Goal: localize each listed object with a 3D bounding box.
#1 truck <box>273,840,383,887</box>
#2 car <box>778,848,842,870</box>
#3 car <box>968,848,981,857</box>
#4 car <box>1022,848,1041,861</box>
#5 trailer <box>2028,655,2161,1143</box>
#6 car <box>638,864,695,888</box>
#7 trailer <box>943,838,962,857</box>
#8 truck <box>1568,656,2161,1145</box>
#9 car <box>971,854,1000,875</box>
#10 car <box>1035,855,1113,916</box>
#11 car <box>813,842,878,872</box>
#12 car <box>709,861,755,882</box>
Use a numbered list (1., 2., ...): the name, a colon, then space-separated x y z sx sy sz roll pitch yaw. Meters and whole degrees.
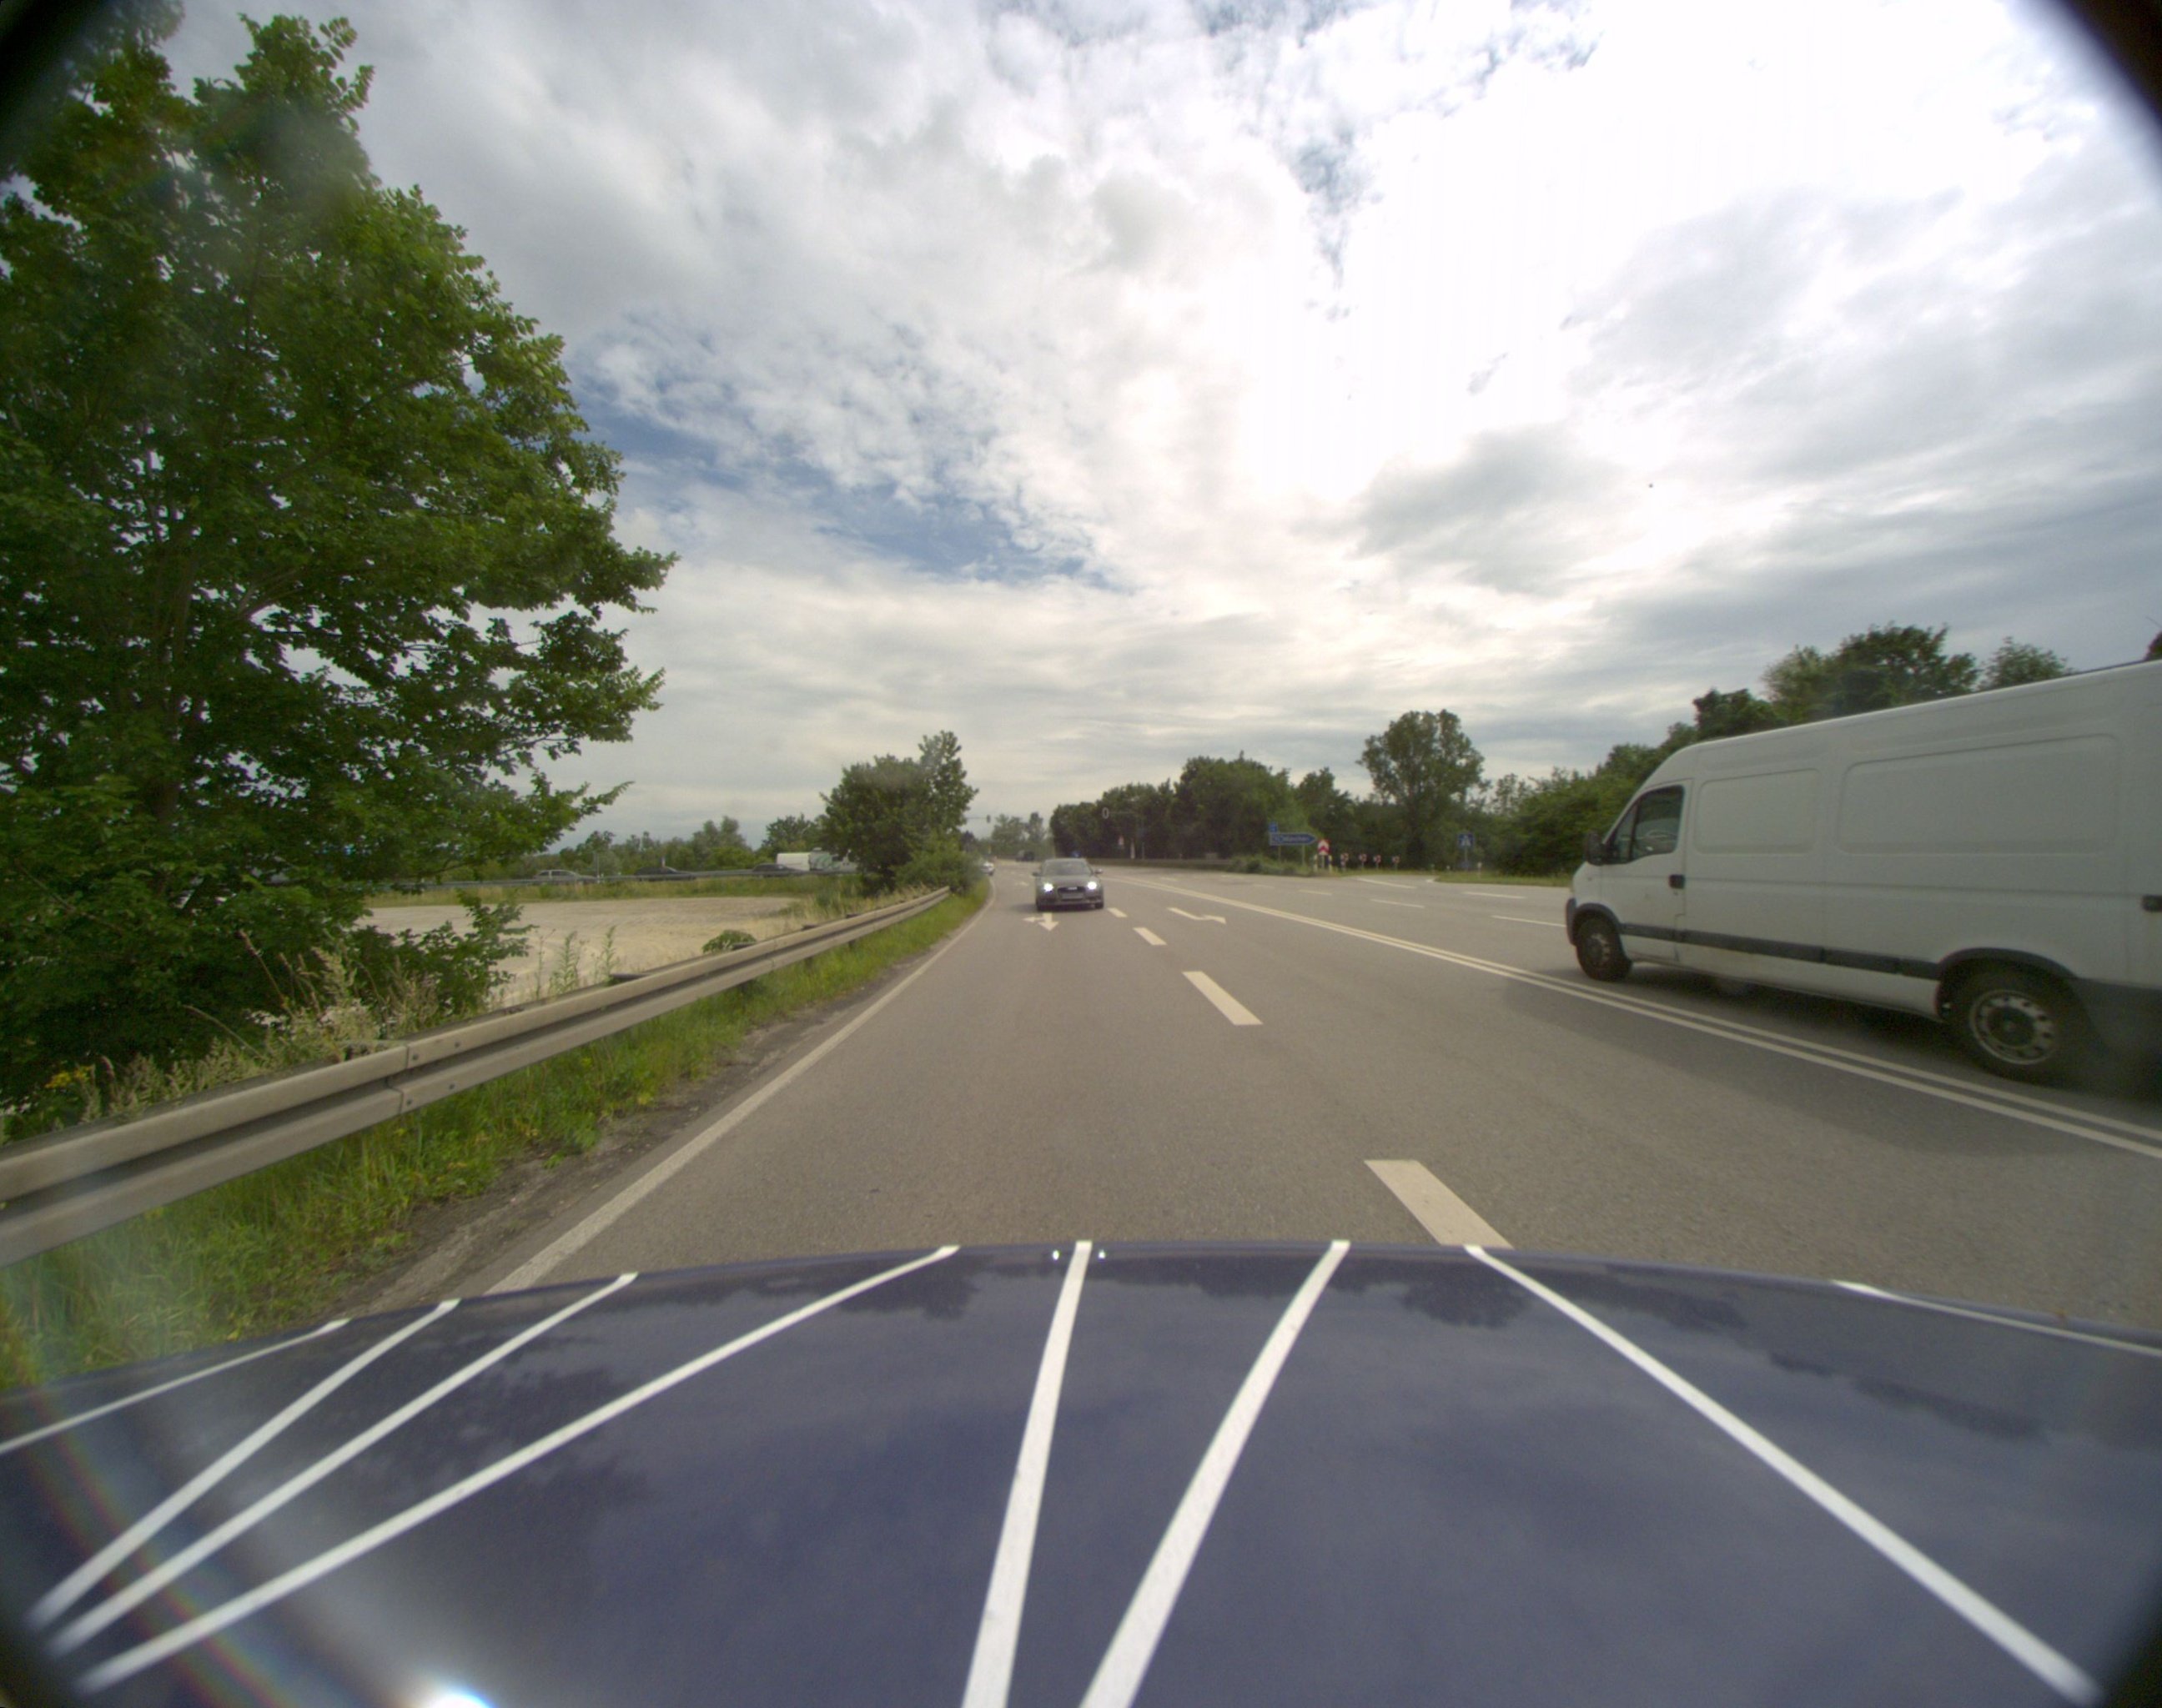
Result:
1. truck: -58.879 0.740 59.531 5.597 3.285 2.390 -3 0 -12
2. car: -27.428 0.545 77.123 5.901 2.002 2.059 -2 0 -16
3. car: -23.665 -0.370 169.242 2.002 2.002 3.993 -3 1 -20
4. car: -8.128 0.026 123.672 2.002 2.002 3.993 -3 1 -20
5. trailer: 6.346 0.198 0.800 2.028 2.430 6.966 -2 0 1
6. car: -36.197 1.879 66.508 4.002 2.001 1.929 -1 -1 -16
7. trailer: -33.162 -1.594 195.644 3.498 4.488 10.930 -3 1 -16
8. truck: 6.402 0.196 5.879 2.028 2.430 5.024 -2 0 1
9. car: -7.938 0.858 62.607 2.022 1.603 4.277 -2 0 -11
10. car: -0.303 0.838 22.428 1.958 1.527 3.998 -2 1 -5
11. car: -21.733 0.285 70.370 5.419 2.552 2.458 -1 -1 -9
12. car: -36.216 1.812 78.850 4.002 2.002 1.929 -2 0 -16
